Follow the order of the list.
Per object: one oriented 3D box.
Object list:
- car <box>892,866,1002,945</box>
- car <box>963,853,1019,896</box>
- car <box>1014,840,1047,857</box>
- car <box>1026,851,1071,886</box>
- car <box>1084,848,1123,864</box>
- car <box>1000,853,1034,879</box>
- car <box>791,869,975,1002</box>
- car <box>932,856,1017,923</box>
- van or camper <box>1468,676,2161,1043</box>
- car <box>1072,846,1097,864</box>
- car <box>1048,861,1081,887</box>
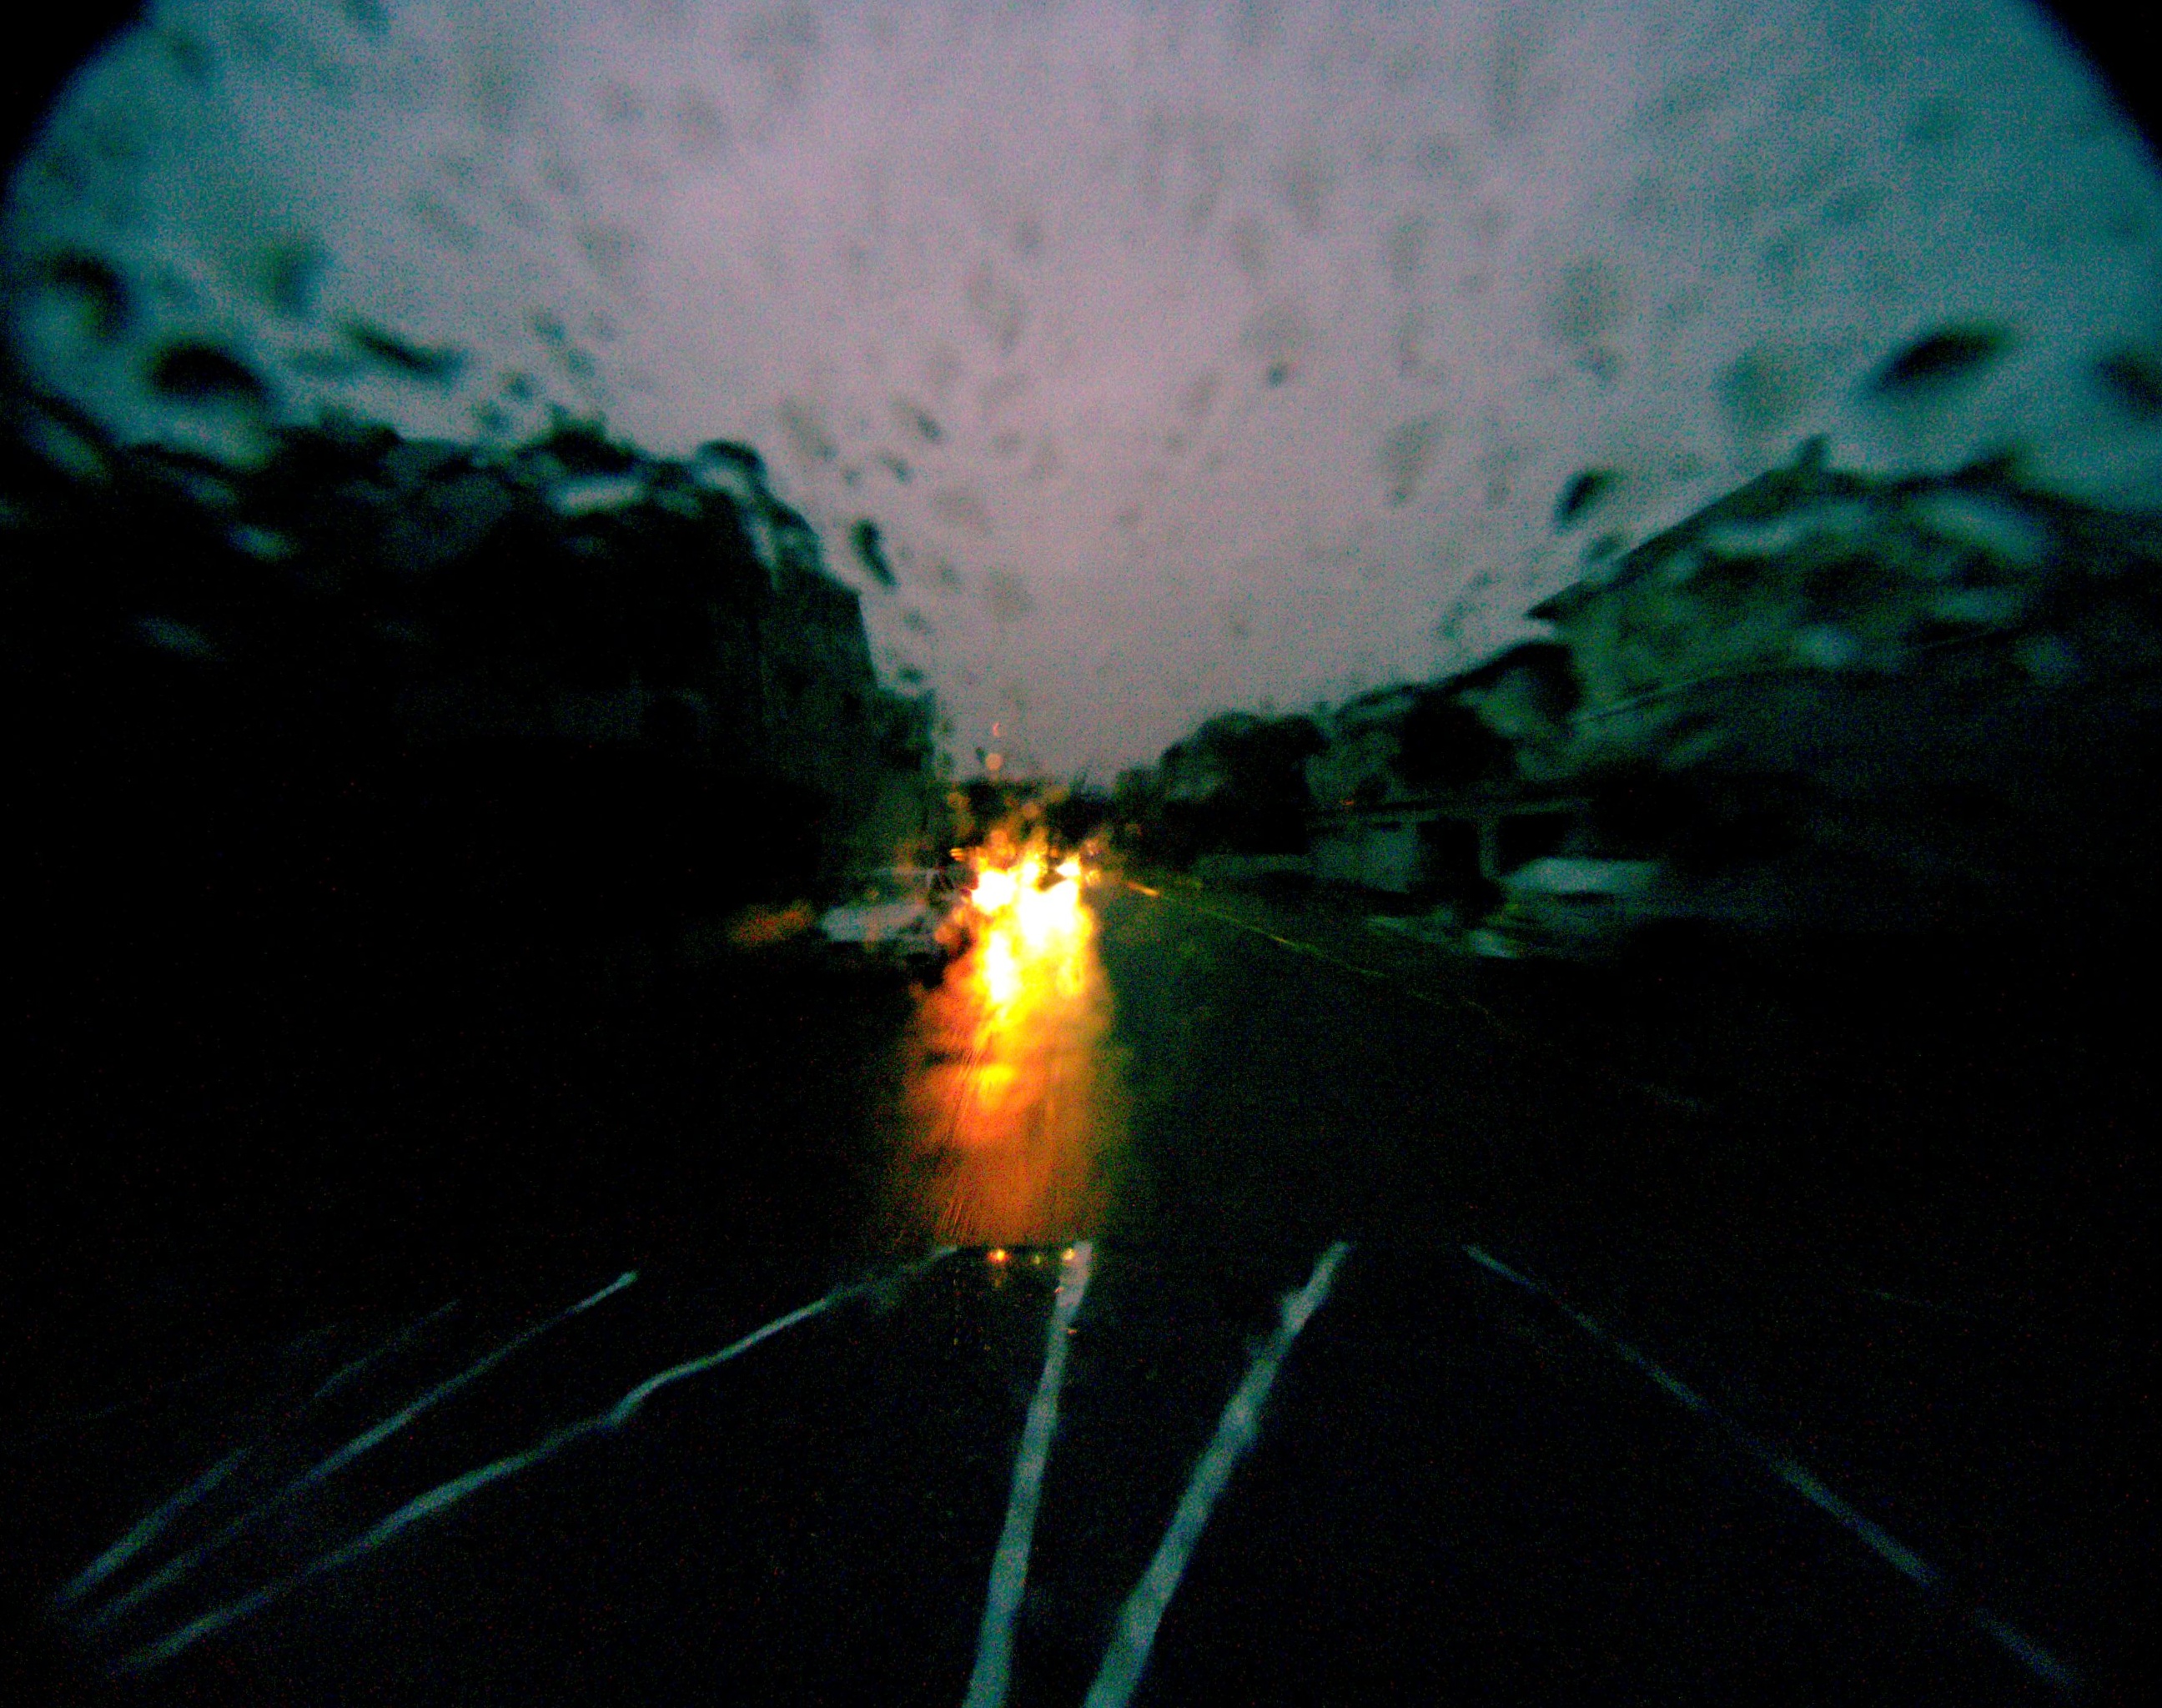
[{"bbox_3d":[-2.827,1.034,16.969,1.740,1.398,4.303,-2,0,-1],"label":"car"},{"bbox_3d":[-3.759,0.815,32.425,1.991,1.638,4.234,-2,0,-2],"label":"car"},{"bbox_3d":[-5.689,-0.596,85.242,1.855,1.873,4.875,-2,1,-27],"label":"car"},{"bbox_3d":[-1.671,0.671,37.748,1.992,1.549,4.234,-2,0,-5],"label":"car"},{"bbox_3d":[2.446,0.218,82.728,3.994,1.652,1.756,-2,1,10],"label":"car"},{"bbox_3d":[-4.234,0.736,49.595,1.992,1.549,4.233,-2,0,-7],"label":"car"},{"bbox_3d":[-2.707,1.033,11.409,1.648,1.469,4.371,-2,0,-1],"label":"car"},{"bbox_3d":[-2.876,0.913,21.436,1.814,1.530,4.303,-2,1,-1],"label":"car"},{"bbox_3d":[7.377,0.031,7.287,6.072,2.925,2.324,1,1,3],"label":"van or camper"},{"bbox_3d":[0.351,0.121,75.871,1.755,1.652,3.996,-2,0,-10],"label":"car"},{"bbox_3d":[-1.051,1.281,50.025,1.991,1.489,4.235,-2,0,0],"label":"car"}]
